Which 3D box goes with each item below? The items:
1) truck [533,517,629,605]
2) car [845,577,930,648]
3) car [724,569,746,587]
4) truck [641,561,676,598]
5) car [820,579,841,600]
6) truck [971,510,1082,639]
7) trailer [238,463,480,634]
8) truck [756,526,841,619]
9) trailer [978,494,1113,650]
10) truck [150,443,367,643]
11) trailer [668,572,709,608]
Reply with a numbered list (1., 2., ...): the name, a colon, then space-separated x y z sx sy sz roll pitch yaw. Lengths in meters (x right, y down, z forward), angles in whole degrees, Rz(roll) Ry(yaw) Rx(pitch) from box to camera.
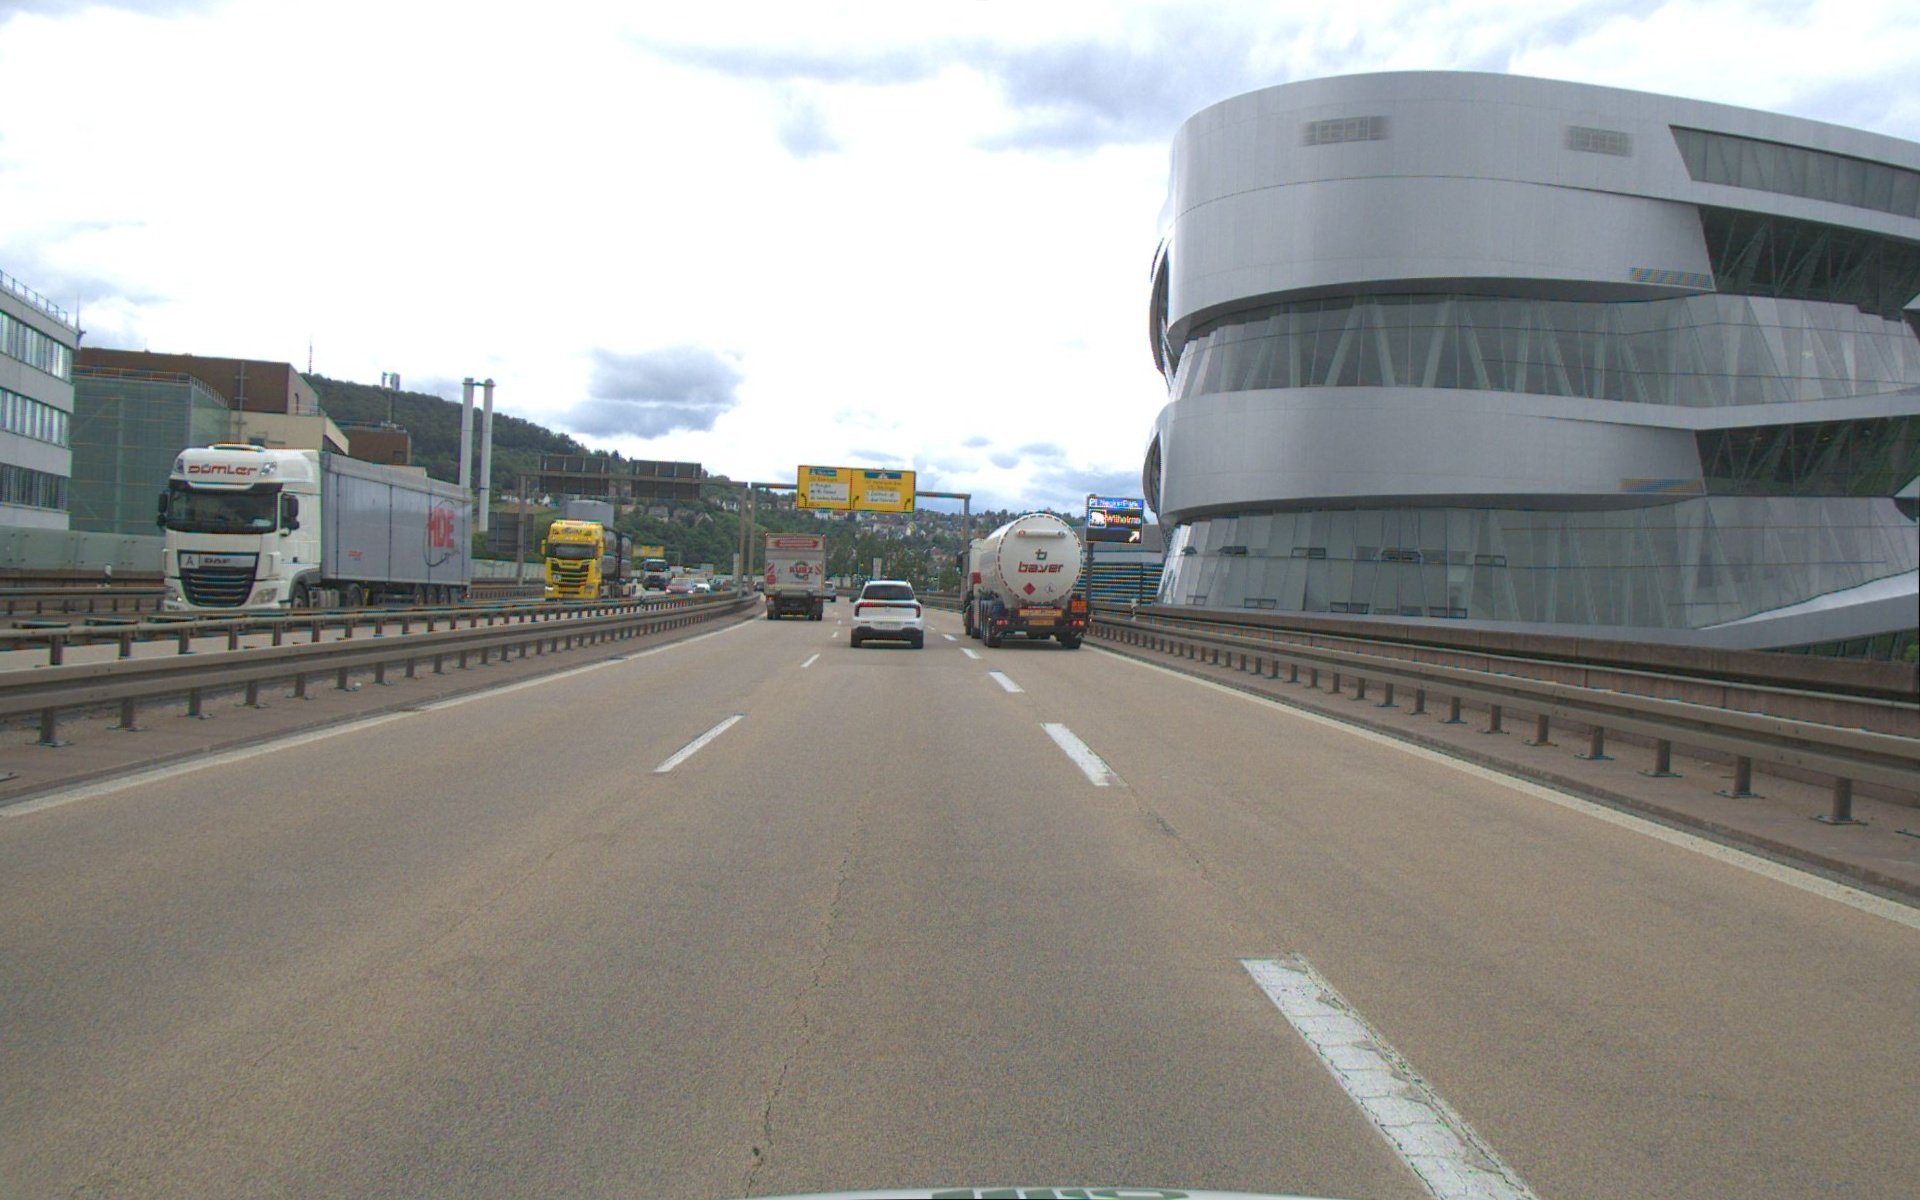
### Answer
1. truck: -19.220 -1.825 84.608 2.997 4.136 11.845 1 0 -5
2. car: -1.817 0.322 42.720 1.953 1.704 4.408 1 0 0
3. car: -22.425 -2.180 164.957 1.955 1.634 4.801 1 0 -6
4. truck: -33.413 -2.196 183.647 2.999 3.842 12.499 1 0 -7
5. car: -11.031 -0.846 141.094 1.649 1.679 4.357 2 0 -3
6. truck: 1.957 -0.722 51.362 2.954 3.721 6.270 1 0 -2
7. trailer: -16.147 -1.241 45.653 2.788 4.057 11.879 1 0 -3
8. truck: -6.964 -1.118 72.525 2.995 3.755 8.302 1 0 -1
9. trailer: 2.205 -0.690 45.666 2.995 3.856 8.300 1 0 -2
10. truck: -15.764 -1.251 37.617 2.717 4.150 5.643 1 1 -3
11. trailer: -16.157 -0.589 98.541 1.954 2.049 3.997 1 0 -3
